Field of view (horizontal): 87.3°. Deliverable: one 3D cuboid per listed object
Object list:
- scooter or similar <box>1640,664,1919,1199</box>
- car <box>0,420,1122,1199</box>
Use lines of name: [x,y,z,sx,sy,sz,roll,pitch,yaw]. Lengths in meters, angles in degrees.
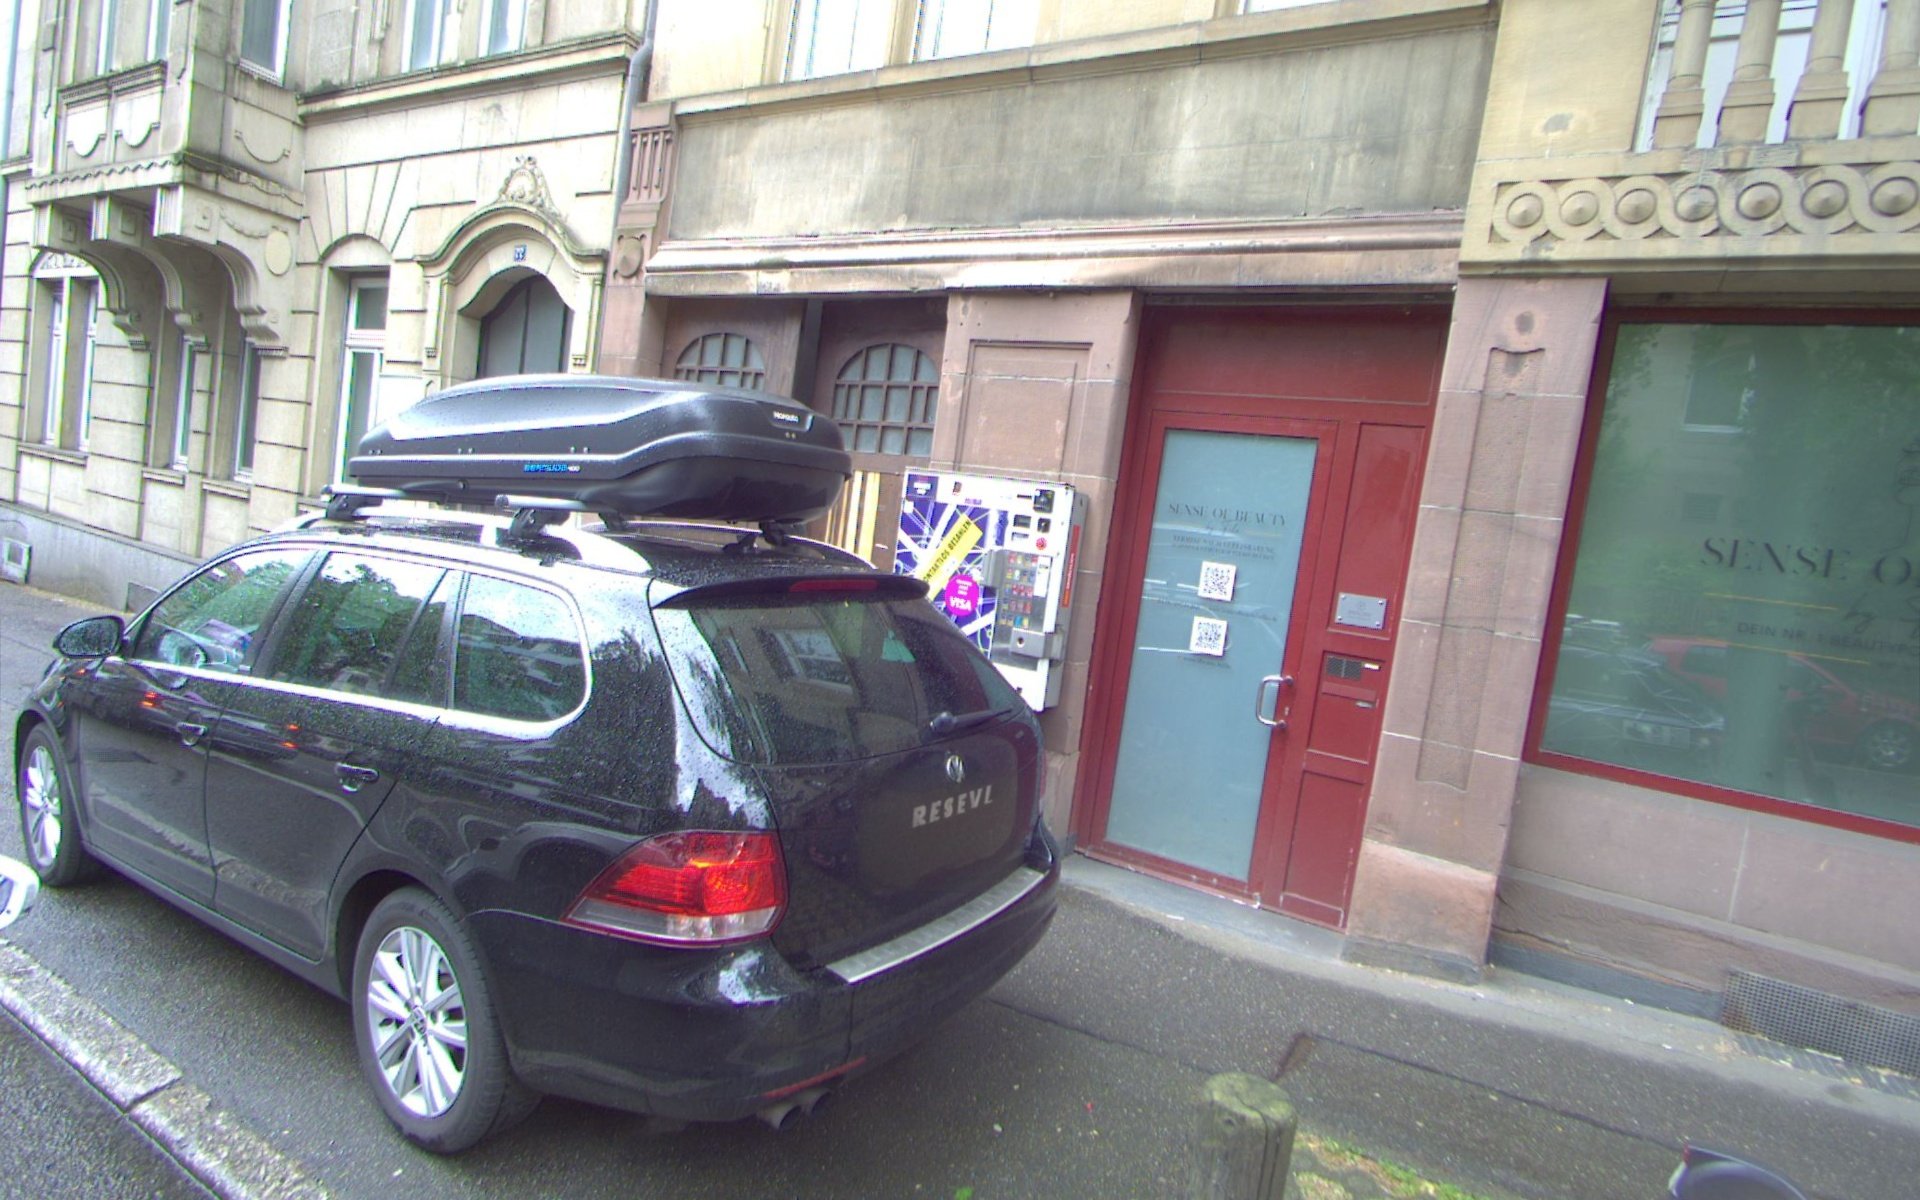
scooter or similar: [2.148,0.875,1.965,1.183,1.336,0.593,7,3,32]
car: [-1.716,0.345,3.505,4.031,1.675,1.757,7,6,32]
